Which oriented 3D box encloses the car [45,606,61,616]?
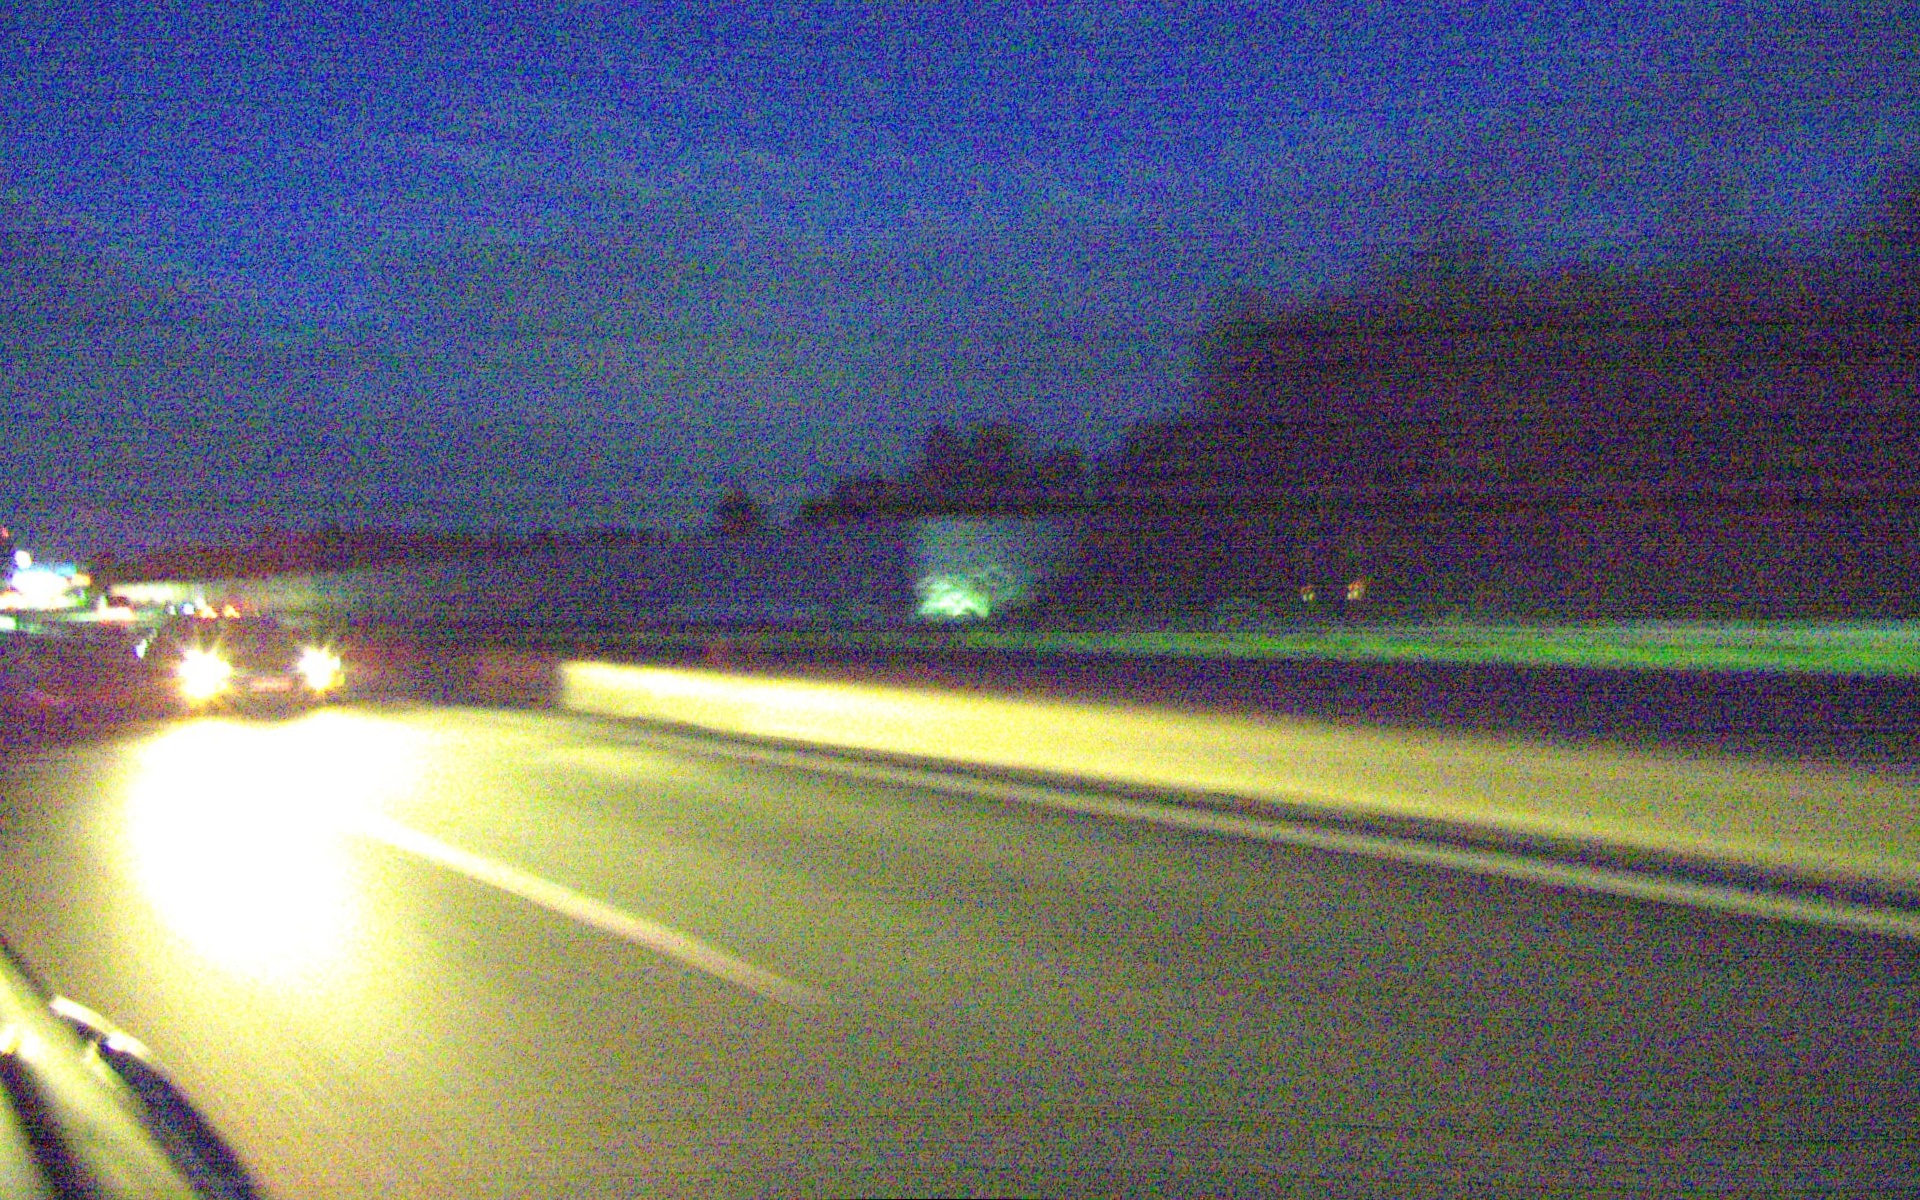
[{"bbox_3d":[-180.721,2.204,201.578,5.944,1.795,2.030,0,1,45],"label":"car"}]

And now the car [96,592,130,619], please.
[{"bbox_3d":[-107.118,0.729,127.935,2.621,3.108,8.220,-1,0,-44],"label":"car"}]

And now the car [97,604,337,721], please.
[{"bbox_3d":[-12.355,0.884,16.649,5.647,1.530,1.973,0,1,41],"label":"car"}]

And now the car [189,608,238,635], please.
[{"bbox_3d":[-50.860,1.448,68.930,4.672,1.706,1.803,0,1,42],"label":"car"}]
